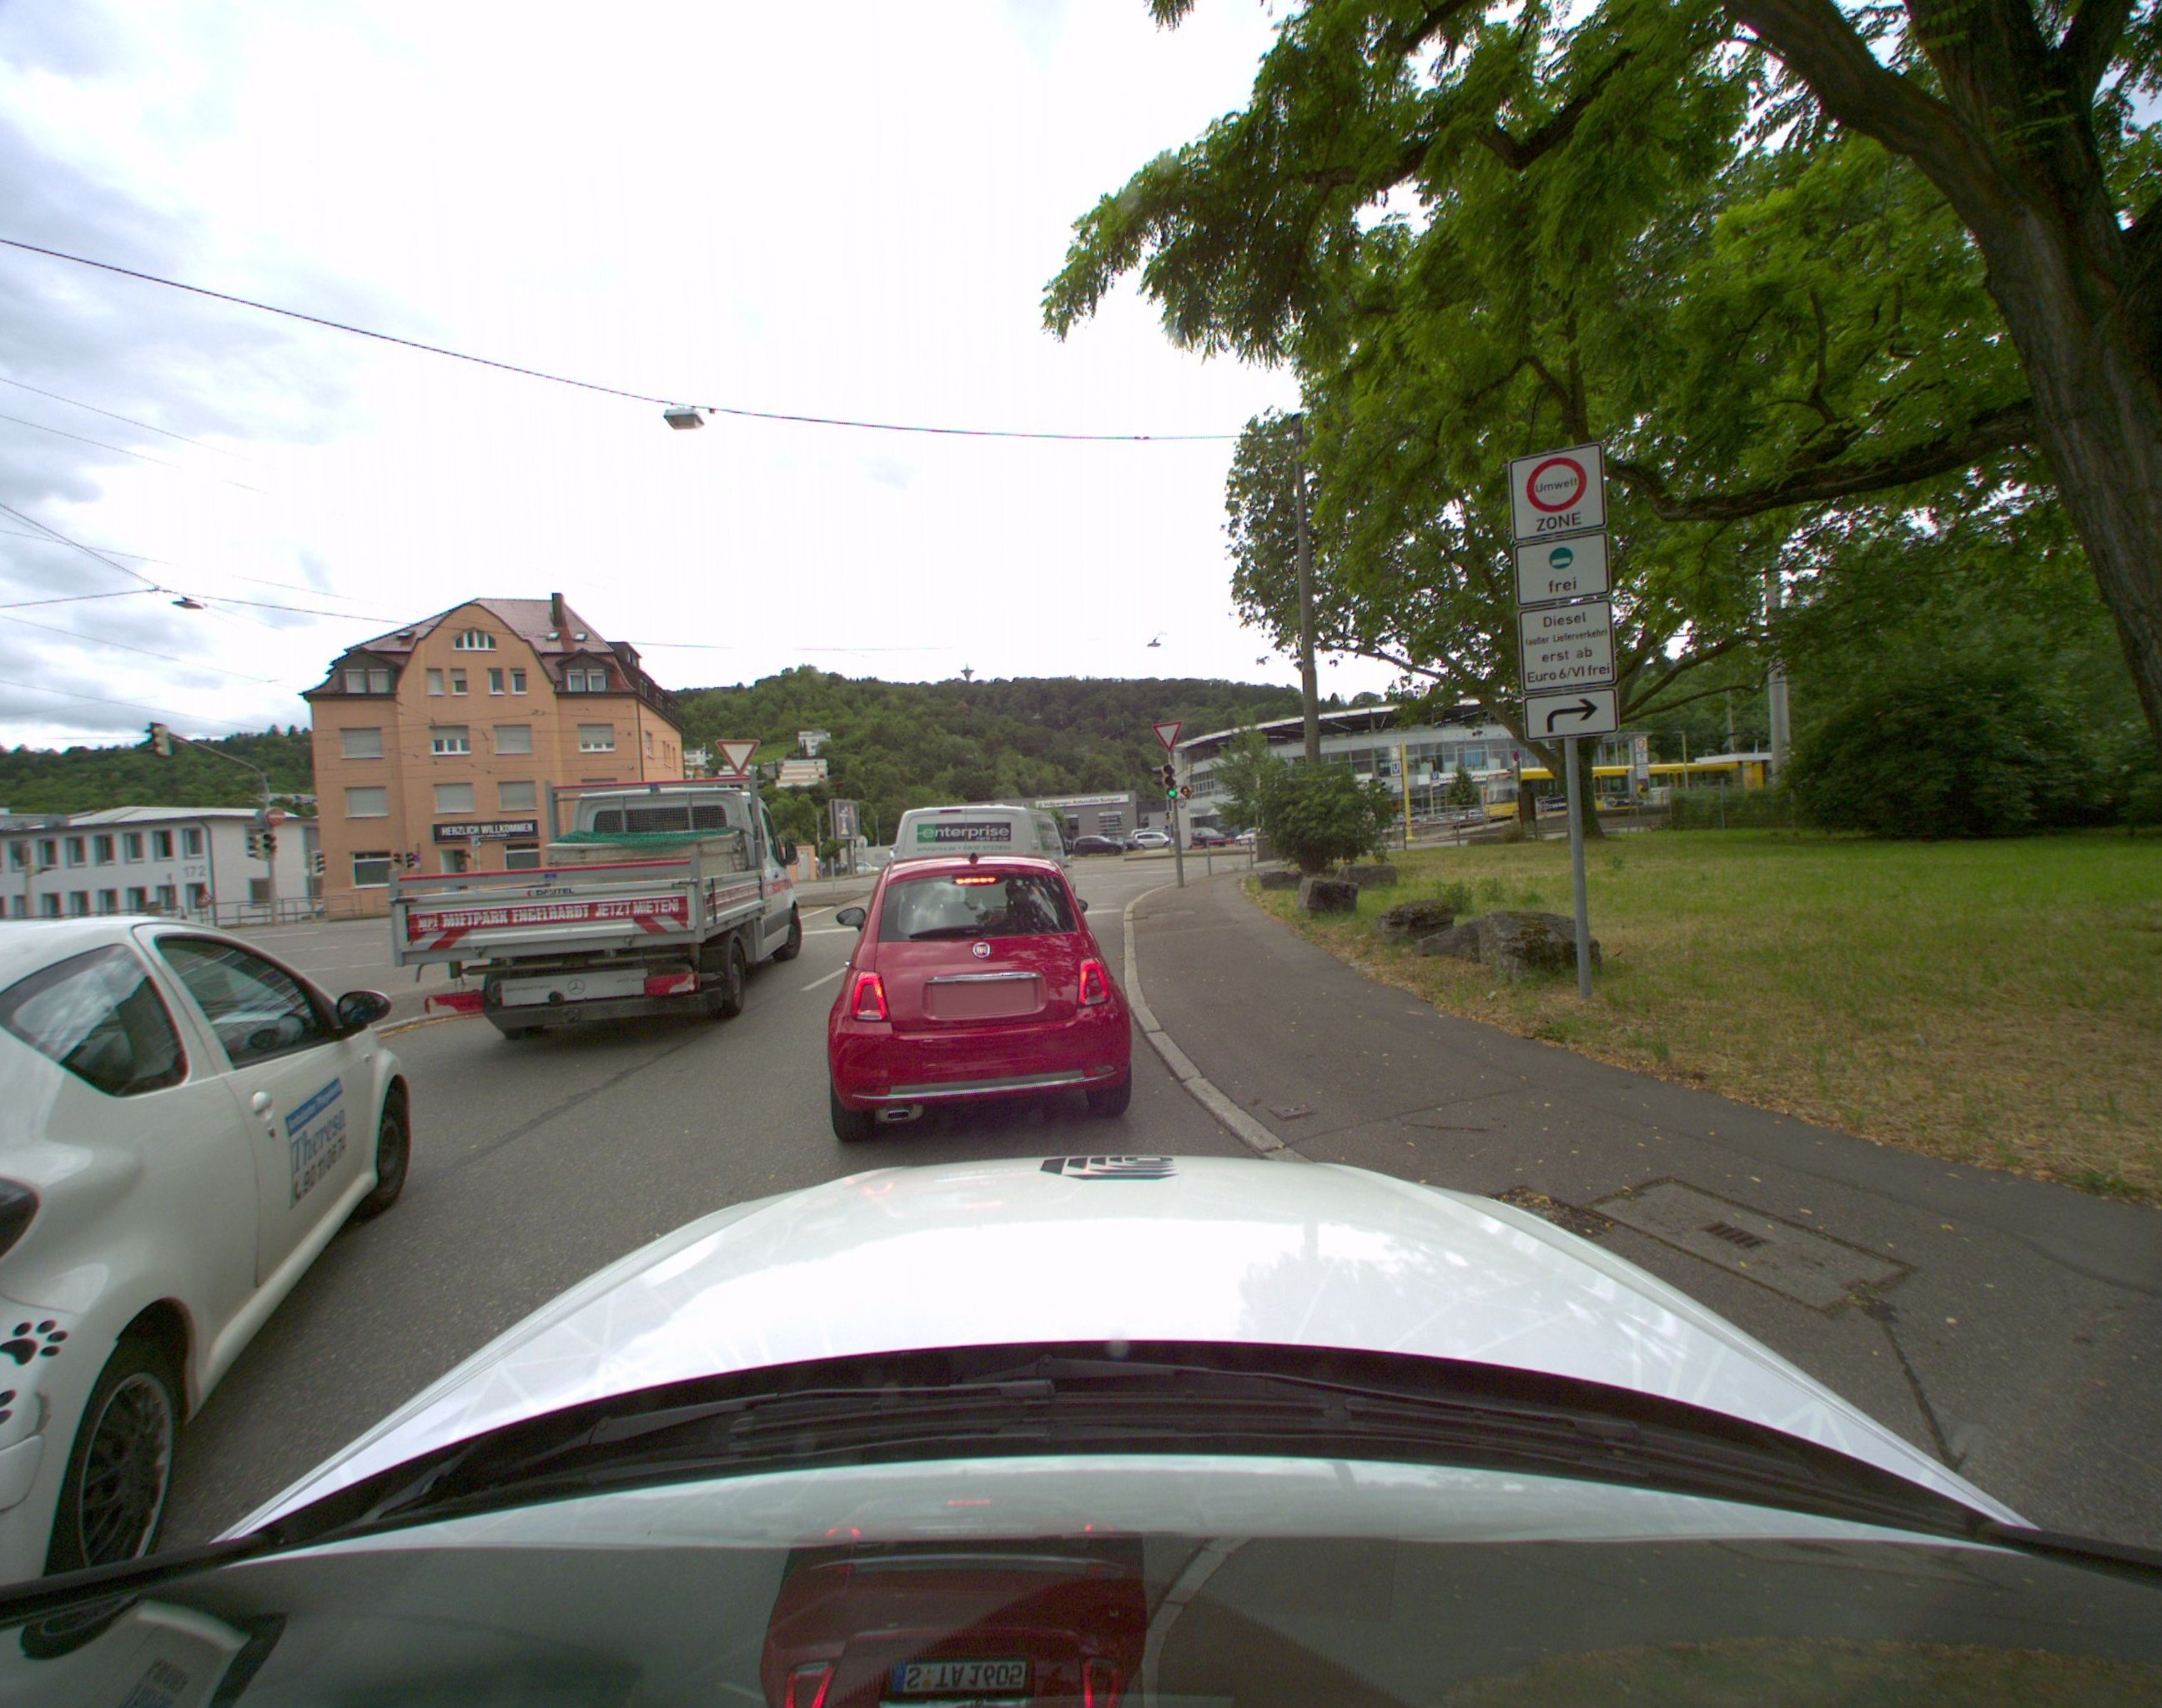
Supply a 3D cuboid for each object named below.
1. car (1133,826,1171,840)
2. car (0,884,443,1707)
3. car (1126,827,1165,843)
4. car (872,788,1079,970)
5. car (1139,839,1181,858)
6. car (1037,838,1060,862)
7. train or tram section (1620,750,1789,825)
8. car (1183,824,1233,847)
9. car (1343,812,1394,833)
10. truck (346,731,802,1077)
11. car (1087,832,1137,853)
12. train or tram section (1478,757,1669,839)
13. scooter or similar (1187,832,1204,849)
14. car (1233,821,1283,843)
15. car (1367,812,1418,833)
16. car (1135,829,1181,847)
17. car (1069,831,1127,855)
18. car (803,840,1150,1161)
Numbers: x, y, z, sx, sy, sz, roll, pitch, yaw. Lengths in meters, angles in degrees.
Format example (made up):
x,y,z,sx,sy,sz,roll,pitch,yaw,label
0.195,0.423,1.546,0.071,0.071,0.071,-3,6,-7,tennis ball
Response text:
x,y,z,sx,sy,sz,roll,pitch,yaw,label
8.750,-2.597,100.702,4.480,1.729,2.000,0,-1,1,car
-3.269,0.853,2.480,1.603,1.420,3.341,0,-1,-30,car
7.574,-2.257,96.383,4.480,1.729,2.000,0,-1,1,car
-1.194,0.197,11.573,1.990,2.040,4.837,0,2,4,car
8.812,-0.586,90.801,4.479,1.997,2.000,0,-1,1,car
-3.121,-0.369,79.437,1.988,2.013,5.014,-4,-1,-1,car
39.968,-4.281,52.102,11.921,3.966,2.730,-5,1,-22,train or tram section
10.109,-1.482,65.232,2.004,1.640,3.967,-3,1,-25,car
24.958,-2.715,70.787,1.931,1.554,3.967,-5,1,-25,car
-4.648,0.266,8.836,2.316,2.421,5.630,-4,2,-13,truck
2.660,-0.992,70.265,3.984,1.706,1.995,0,-1,-8,car
28.926,-3.334,47.644,11.921,3.966,2.730,-5,1,-22,train or tram section
8.788,-1.048,62.319,1.197,1.288,0.575,0,-1,-3,scooter or similar
14.407,-1.744,66.591,2.003,1.640,3.967,0,-1,-25,car
27.458,-2.771,71.926,1.931,1.554,3.967,-5,1,-25,car
7.710,-1.564,81.349,4.475,1.729,2.002,0,-1,4,car
1.316,-0.826,61.662,3.957,1.639,2.009,-1,4,15,car
-0.808,0.664,5.987,1.697,1.525,3.987,0,1,-10,car
